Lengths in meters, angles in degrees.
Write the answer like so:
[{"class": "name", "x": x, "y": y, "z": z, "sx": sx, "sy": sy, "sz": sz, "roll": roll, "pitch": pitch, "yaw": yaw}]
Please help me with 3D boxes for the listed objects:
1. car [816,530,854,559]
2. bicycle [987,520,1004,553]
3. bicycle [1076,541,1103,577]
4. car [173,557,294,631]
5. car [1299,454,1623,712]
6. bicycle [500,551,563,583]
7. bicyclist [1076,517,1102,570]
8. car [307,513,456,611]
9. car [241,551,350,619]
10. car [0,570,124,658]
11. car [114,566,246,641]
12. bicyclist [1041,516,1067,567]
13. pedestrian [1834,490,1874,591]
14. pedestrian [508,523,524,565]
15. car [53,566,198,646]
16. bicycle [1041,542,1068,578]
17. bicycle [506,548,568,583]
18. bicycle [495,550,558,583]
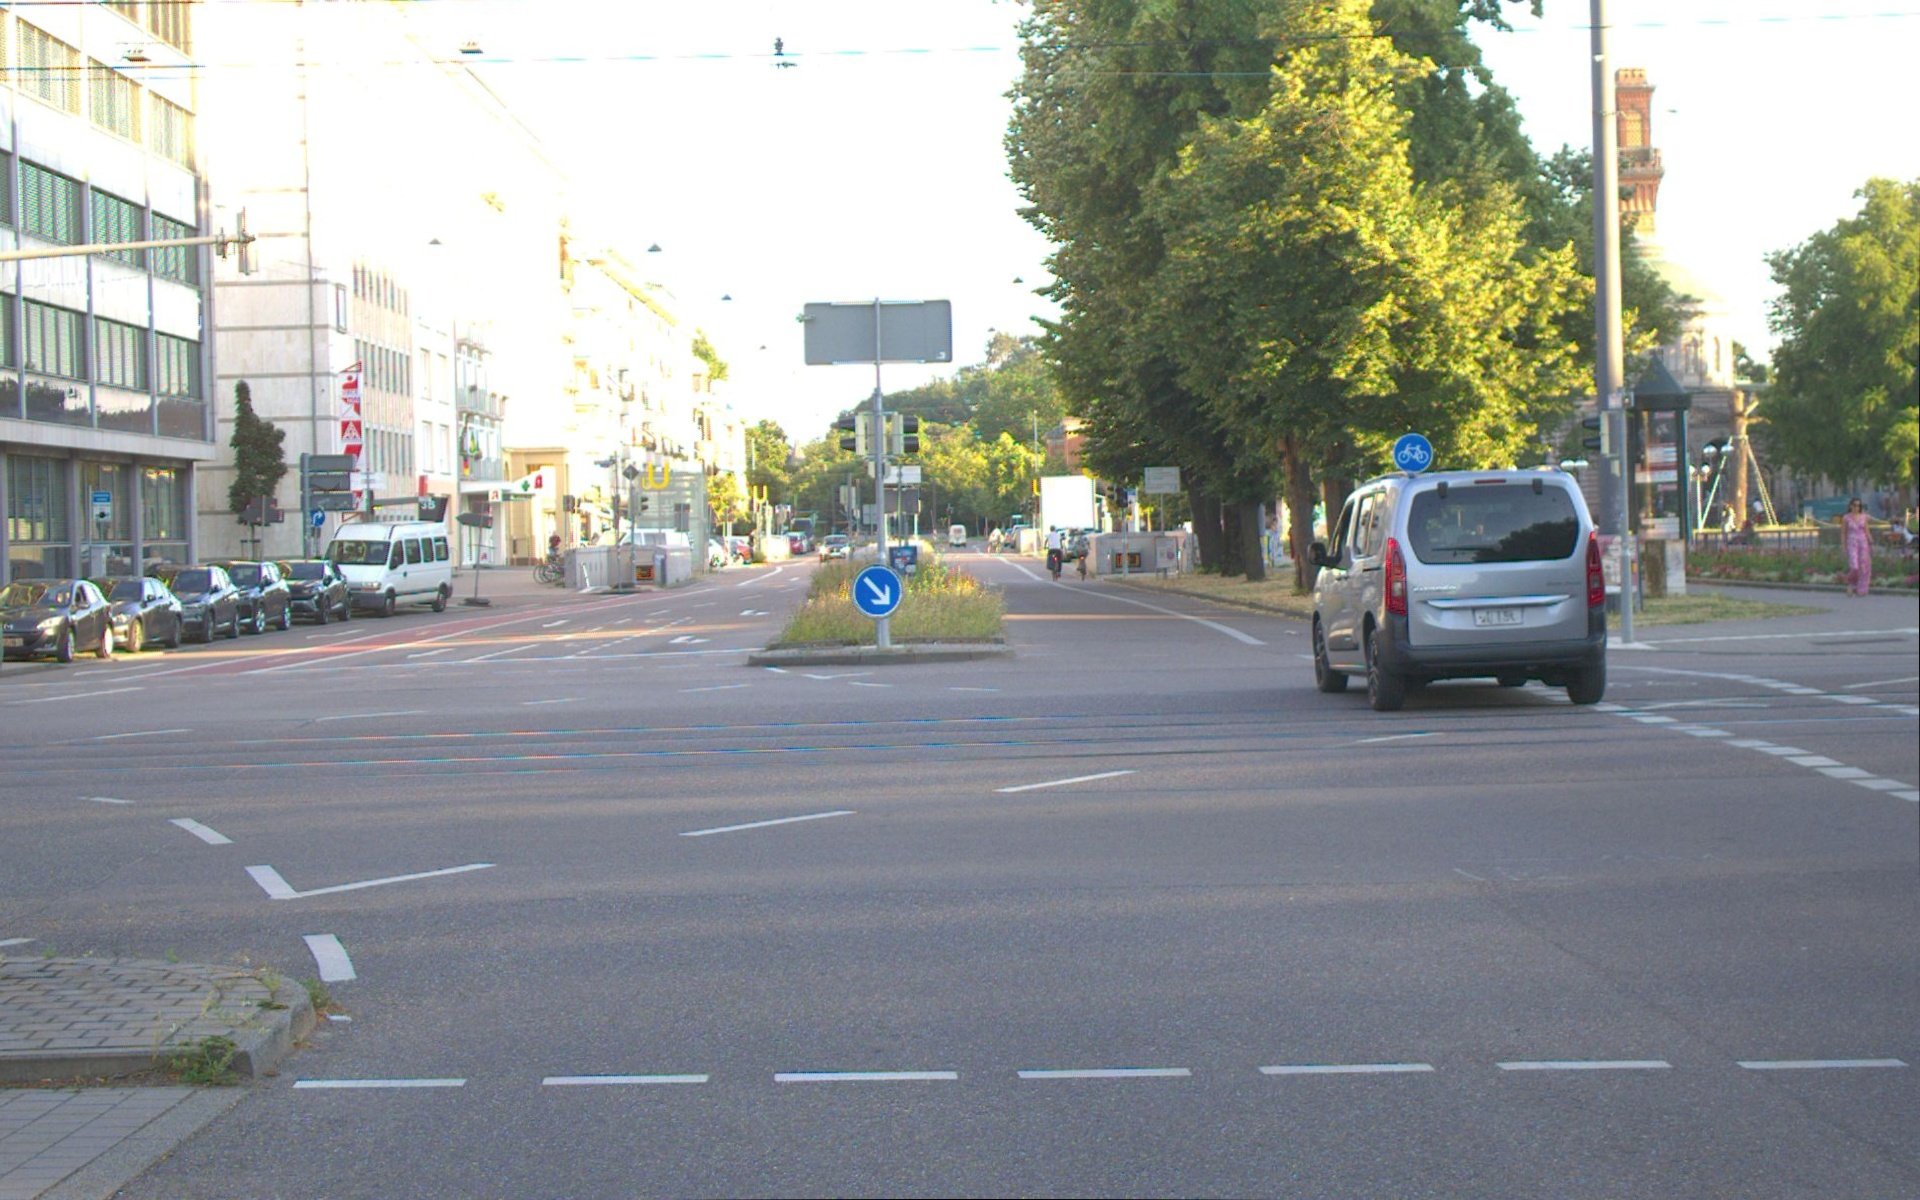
[{"class": "car", "x": -6.847, "y": -3.035, "z": 188.607, "sx": 1.863, "sy": 1.514, "sz": 4.000, "roll": -2, "pitch": 1, "yaw": 1}, {"class": "bicycle", "x": 2.155, "y": -3.906, "z": 211.167, "sx": 0.895, "sy": 2.007, "sz": 4.000, "roll": -1, "pitch": 1, "yaw": -1}, {"class": "bicycle", "x": 4.239, "y": -1.343, "z": 112.720, "sx": 0.746, "sy": 1.140, "sz": 2.505, "roll": -2, "pitch": 1, "yaw": -1}, {"class": "car", "x": -16.559, "y": -0.151, "z": 78.555, "sx": 1.920, "sy": 1.563, "sz": 4.000, "roll": -2, "pitch": 1, "yaw": -1}, {"class": "car", "x": 3.972, "y": -0.174, "z": 27.959, "sx": 1.763, "sy": 1.882, "sz": 4.500, "roll": -2, "pitch": 1, "yaw": -2}, {"class": "bicycle", "x": -15.829, "y": -1.215, "z": 127.052, "sx": 2.205, "sy": 1.108, "sz": 0.689, "roll": -2, "pitch": 1, "yaw": -2}, {"class": "bicyclist", "x": 4.224, "y": -1.855, "z": 112.561, "sx": 0.746, "sy": 1.685, "sz": 0.799, "roll": -2, "pitch": 1, "yaw": -1}, {"class": "car", "x": -15.301, "y": -1.055, "z": 91.232, "sx": 2.002, "sy": 2.469, "sz": 5.865, "roll": -1, "pitch": 1, "yaw": 10}, {"class": "car", "x": -16.361, "y": -0.385, "z": 84.782, "sx": 1.920, "sy": 1.563, "sz": 4.000, "roll": -2, "pitch": 1, "yaw": -1}, {"class": "car", "x": -16.522, "y": 0.232, "z": 61.977, "sx": 1.920, "sy": 1.459, "sz": 4.103, "roll": -2, "pitch": 1, "yaw": -1}, {"class": "car", "x": -16.581, "y": 0.052, "z": 73.254, "sx": 1.920, "sy": 1.459, "sz": 4.000, "roll": -2, "pitch": 1, "yaw": -1}, {"class": "bicyclist", "x": 3.067, "y": -1.911, "z": 112.288, "sx": 0.746, "sy": 1.658, "sz": 0.873, "roll": -2, "pitch": 1, "yaw": -1}, {"class": "pedestrian", "x": 14.828, "y": -0.984, "z": 57.026, "sx": 0.460, "sy": 1.651, "sz": 0.567, "roll": -1, "pitch": 1, "yaw": -1}, {"class": "pedestrian", "x": -21.290, "y": -2.683, "z": 164.807, "sx": 0.680, "sy": 2.007, "sz": 0.545, "roll": -2, "pitch": 1, "yaw": 0}, {"class": "car", "x": -16.577, "y": 0.101, "z": 68.439, "sx": 1.920, "sy": 1.459, "sz": 4.000, "roll": -2, "pitch": 1, "yaw": -1}, {"class": "bicycle", "x": 3.083, "y": -1.306, "z": 112.596, "sx": 0.746, "sy": 1.140, "sz": 2.505, "roll": -2, "pitch": 1, "yaw": -1}, {"class": "bicycle", "x": -15.865, "y": -1.304, "z": 128.887, "sx": 2.205, "sy": 1.232, "sz": 0.839, "roll": -2, "pitch": 1, "yaw": -2}, {"class": "bicycle", "x": -15.843, "y": -1.224, "z": 125.532, "sx": 2.205, "sy": 1.108, "sz": 0.619, "roll": -2, "pitch": 1, "yaw": -2}]
